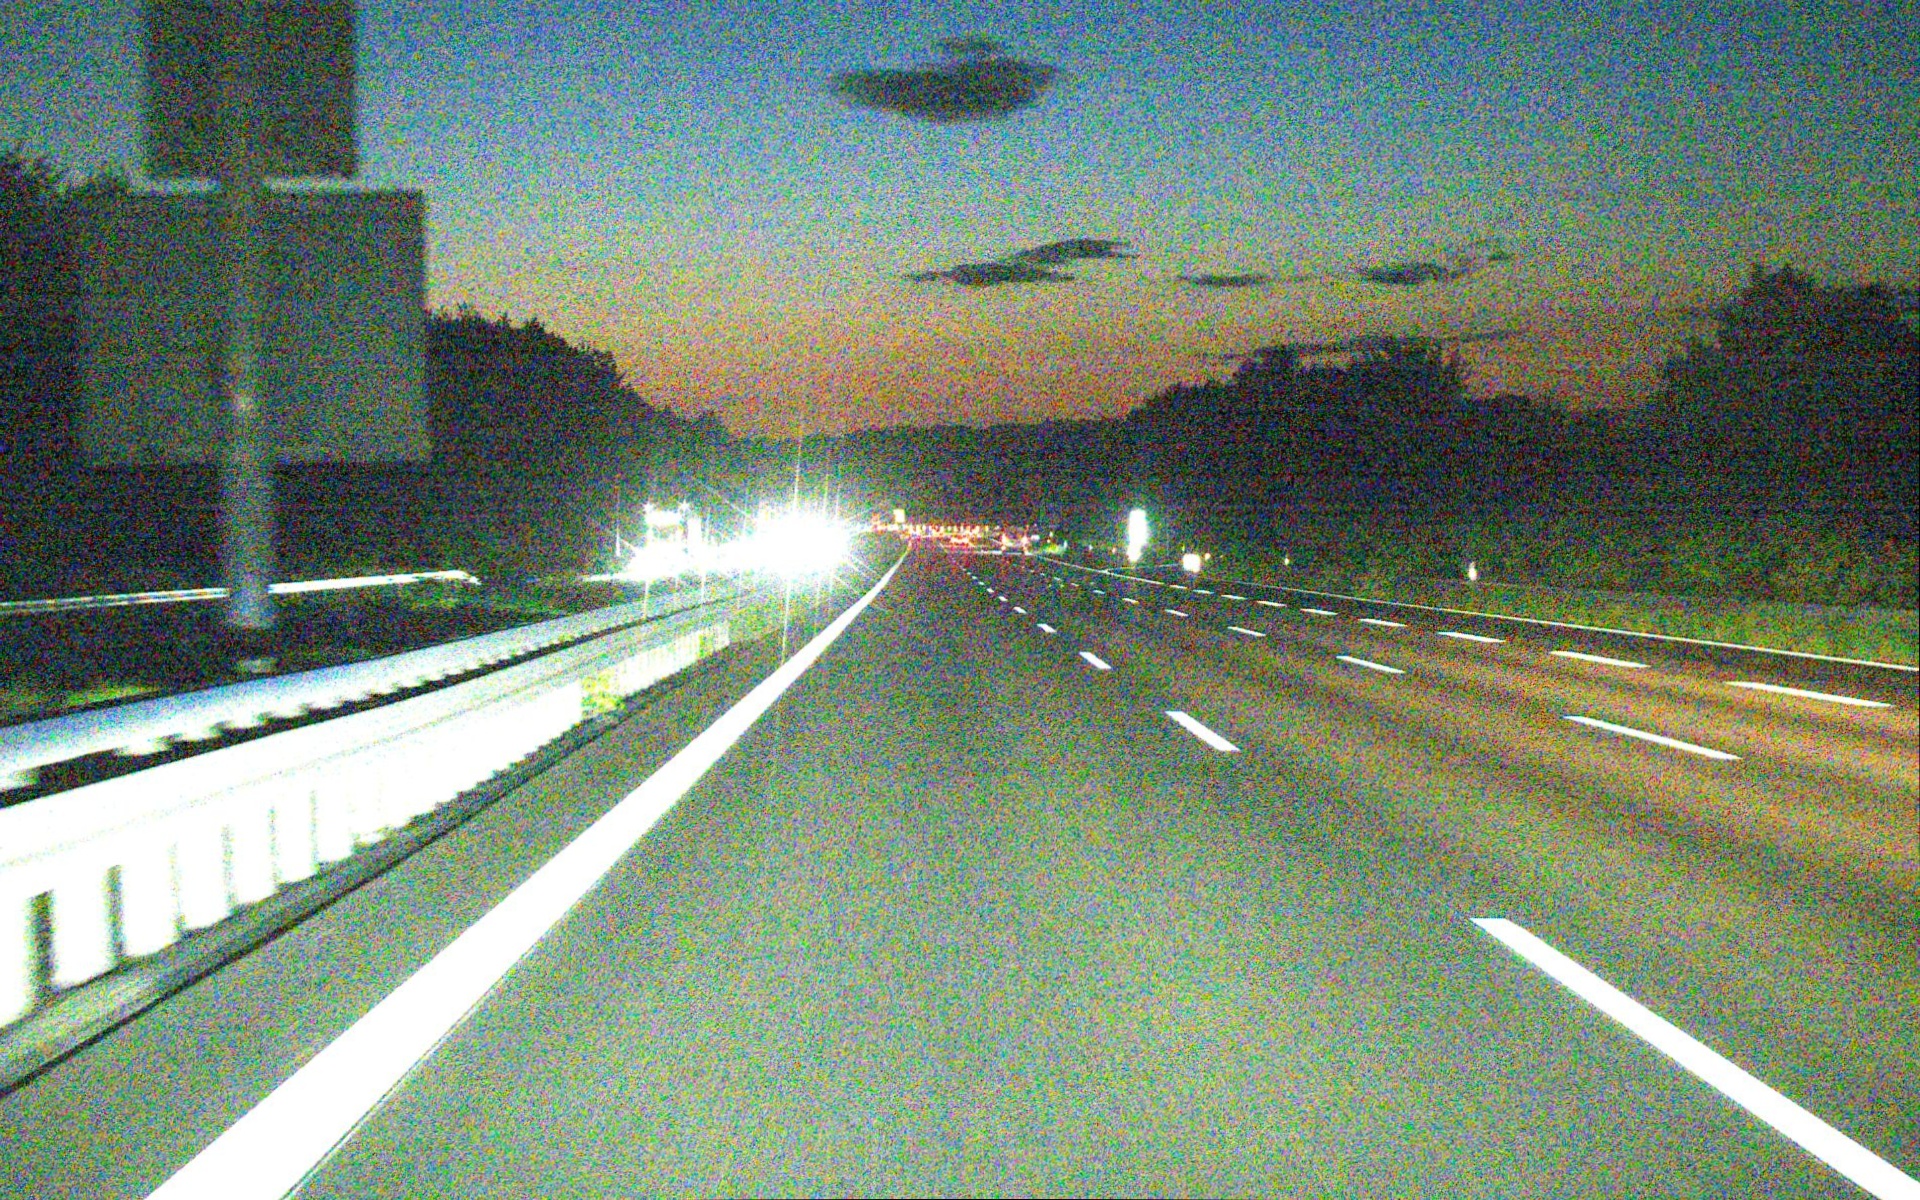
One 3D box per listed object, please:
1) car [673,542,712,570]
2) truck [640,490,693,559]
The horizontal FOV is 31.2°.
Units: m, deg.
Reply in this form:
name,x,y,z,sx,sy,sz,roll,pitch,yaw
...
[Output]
name,x,y,z,sx,sy,sz,roll,pitch,yaw
car,-14.745,-2.454,189.957,1.993,1.456,4.693,-2,1,-3
truck,-18.334,-4.716,215.007,2.753,4.197,5.826,-2,1,-1
